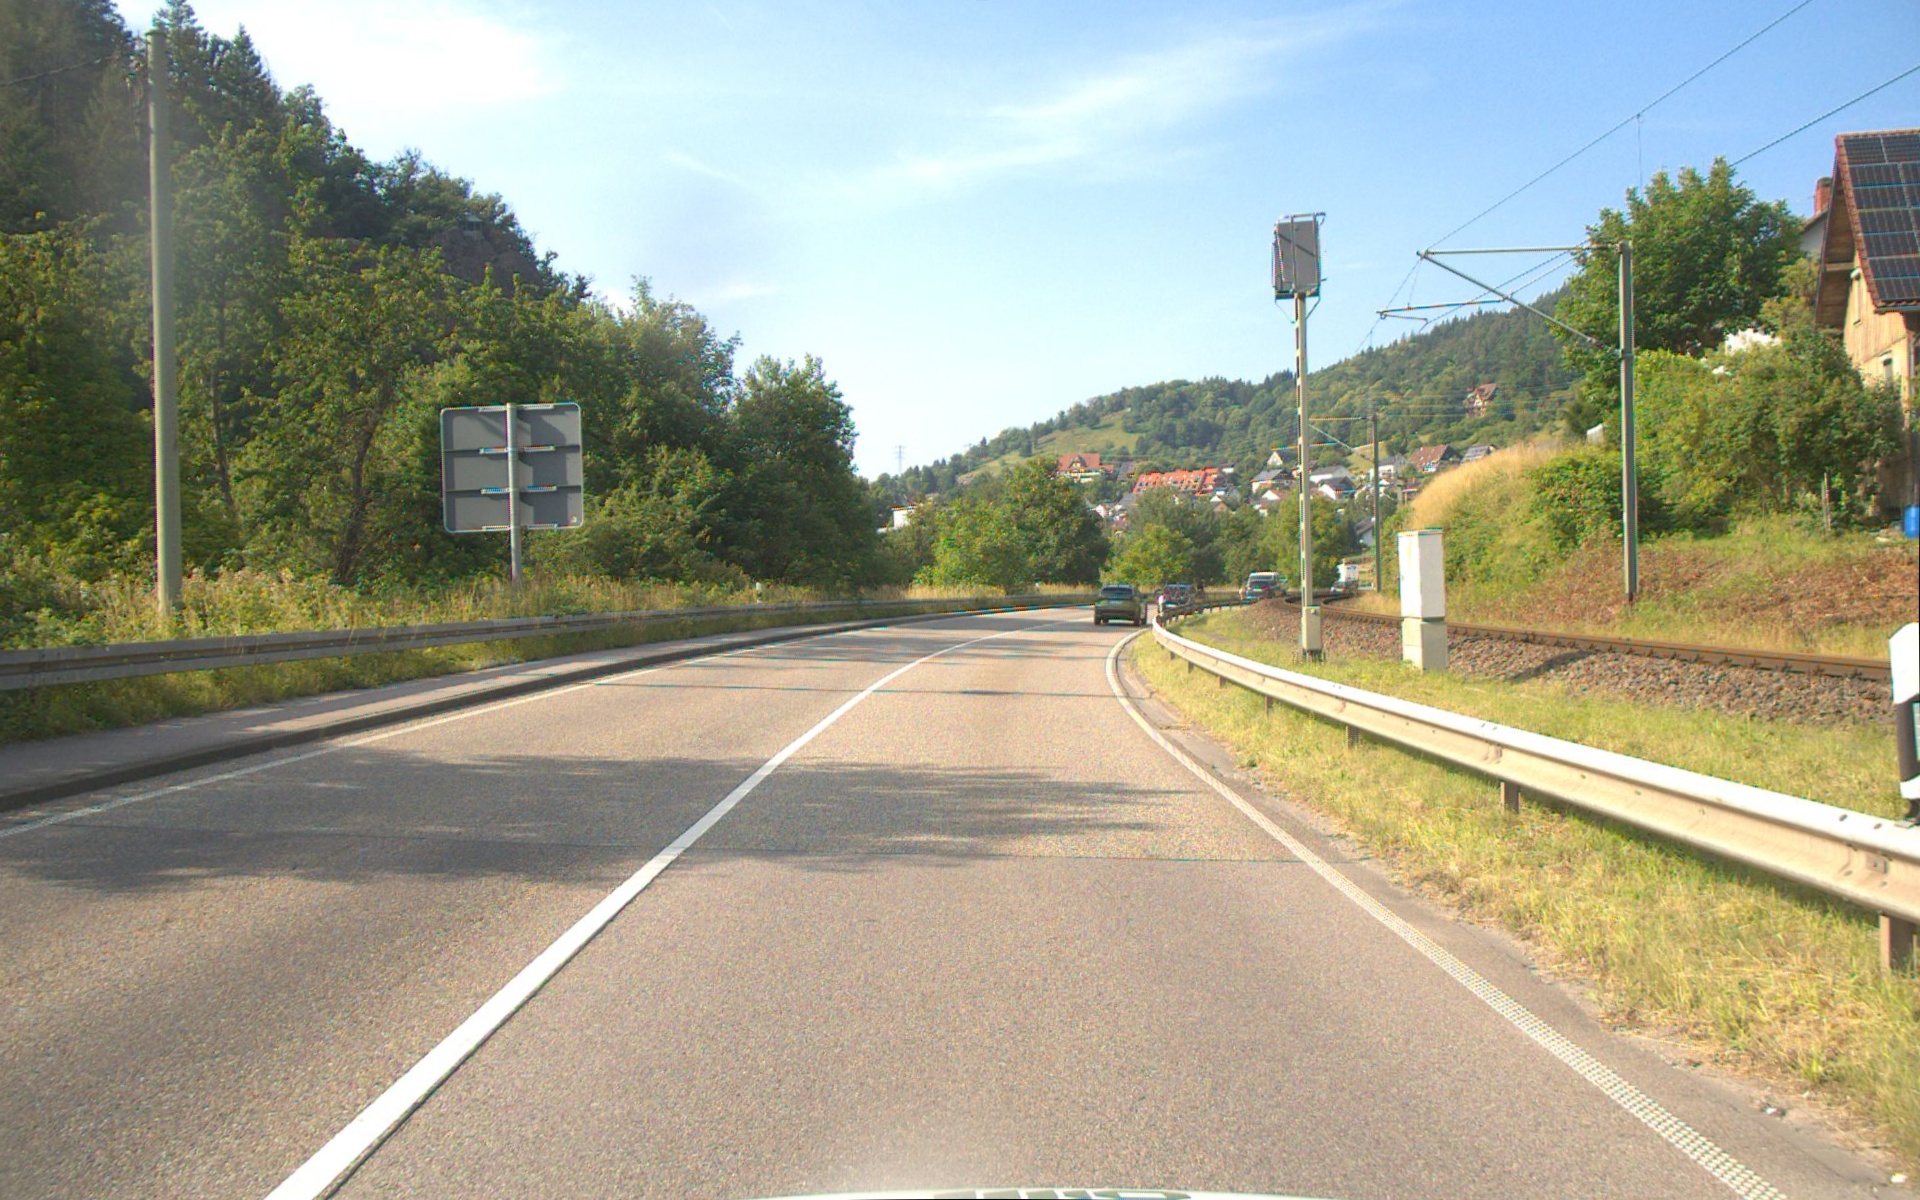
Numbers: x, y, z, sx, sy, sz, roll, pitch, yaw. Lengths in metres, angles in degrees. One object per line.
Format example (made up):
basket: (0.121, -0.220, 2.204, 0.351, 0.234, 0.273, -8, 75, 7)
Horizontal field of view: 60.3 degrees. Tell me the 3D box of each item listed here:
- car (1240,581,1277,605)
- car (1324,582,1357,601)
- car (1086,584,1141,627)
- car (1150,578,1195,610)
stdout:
car: (19.566, -0.486, 108.165, 1.769, 1.478, 3.648, -2, 0, 19)
car: (30.249, -0.692, 131.434, 1.773, 1.433, 3.771, -2, 0, 25)
car: (5.827, 0.196, 62.394, 1.691, 1.482, 3.414, -2, 0, 11)
car: (10.481, -0.298, 81.352, 1.801, 1.485, 3.716, -2, 0, 13)
